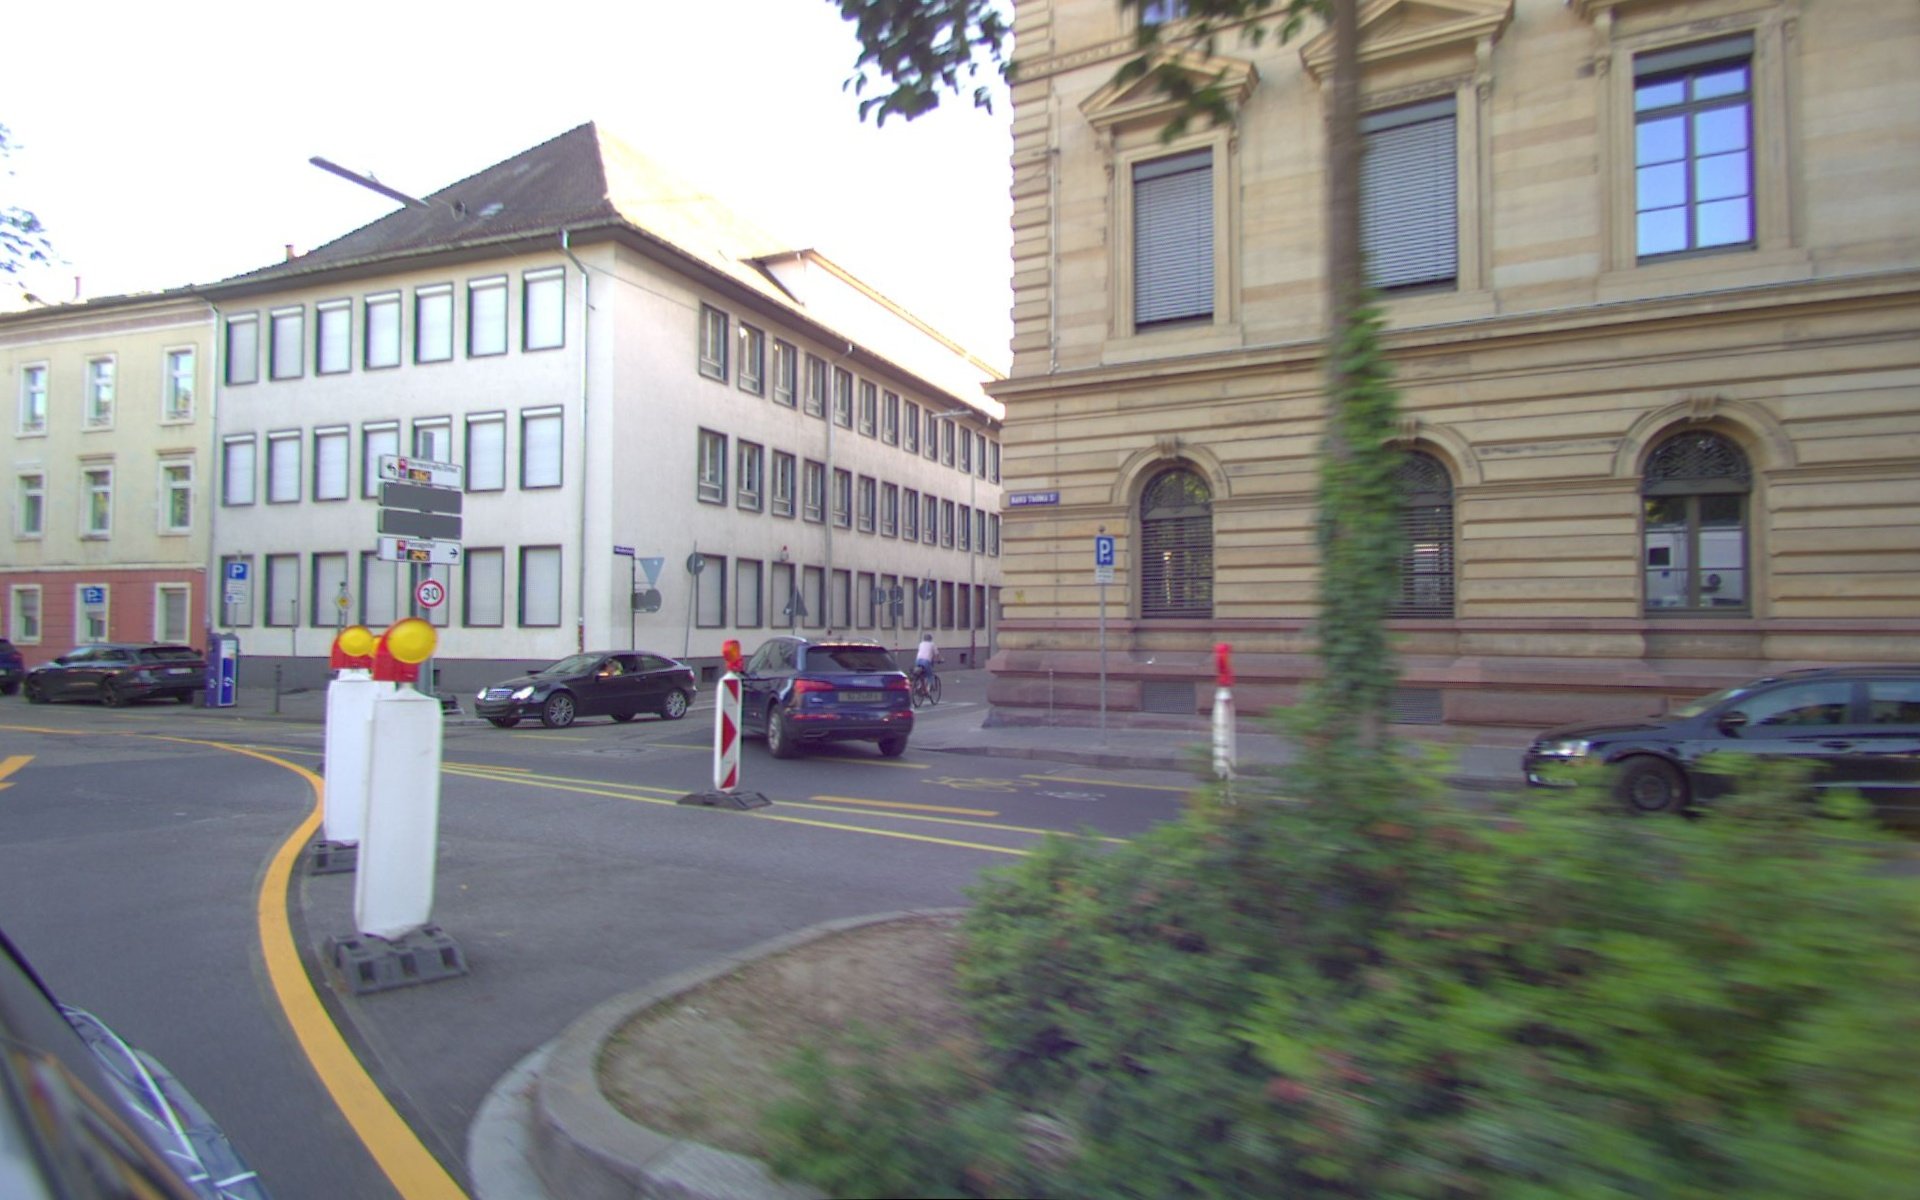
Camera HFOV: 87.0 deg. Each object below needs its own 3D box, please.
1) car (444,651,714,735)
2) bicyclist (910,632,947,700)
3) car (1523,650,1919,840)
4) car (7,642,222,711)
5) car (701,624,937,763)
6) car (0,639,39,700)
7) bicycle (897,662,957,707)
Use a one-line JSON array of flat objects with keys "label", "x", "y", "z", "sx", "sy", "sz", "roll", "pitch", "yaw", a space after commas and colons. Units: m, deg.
[{"label": "car", "x": -6.993, "y": 1.654, "z": 19.149, "sx": 1.760, "sy": 1.333, "sz": 4.725, "roll": -1, "pitch": -3, "yaw": 31}, {"label": "bicyclist", "x": -0.749, "y": 1.565, "z": 24.134, "sx": 0.640, "sy": 1.589, "sz": 0.758, "roll": -1, "pitch": -3, "yaw": 22}, {"label": "car", "x": 7.841, "y": 1.252, "z": 9.260, "sx": 4.622, "sy": 1.519, "sz": 1.867, "roll": -1, "pitch": -4, "yaw": 28}, {"label": "car", "x": -20.548, "y": 1.798, "z": 24.605, "sx": 4.750, "sy": 1.519, "sz": 1.870, "roll": -1, "pitch": -1, "yaw": 20}, {"label": "car", "x": -2.251, "y": 1.280, "z": 14.859, "sx": 1.850, "sy": 1.683, "sz": 4.669, "roll": 3, "pitch": -4, "yaw": -29}, {"label": "car", "x": -27.006, "y": 1.835, "z": 26.979, "sx": 4.120, "sy": 1.583, "sz": 1.796, "roll": -1, "pitch": -3, "yaw": 18}, {"label": "bicycle", "x": -0.756, "y": 1.996, "z": 24.134, "sx": 0.635, "sy": 0.999, "sz": 2.110, "roll": -1, "pitch": -3, "yaw": 21}]
